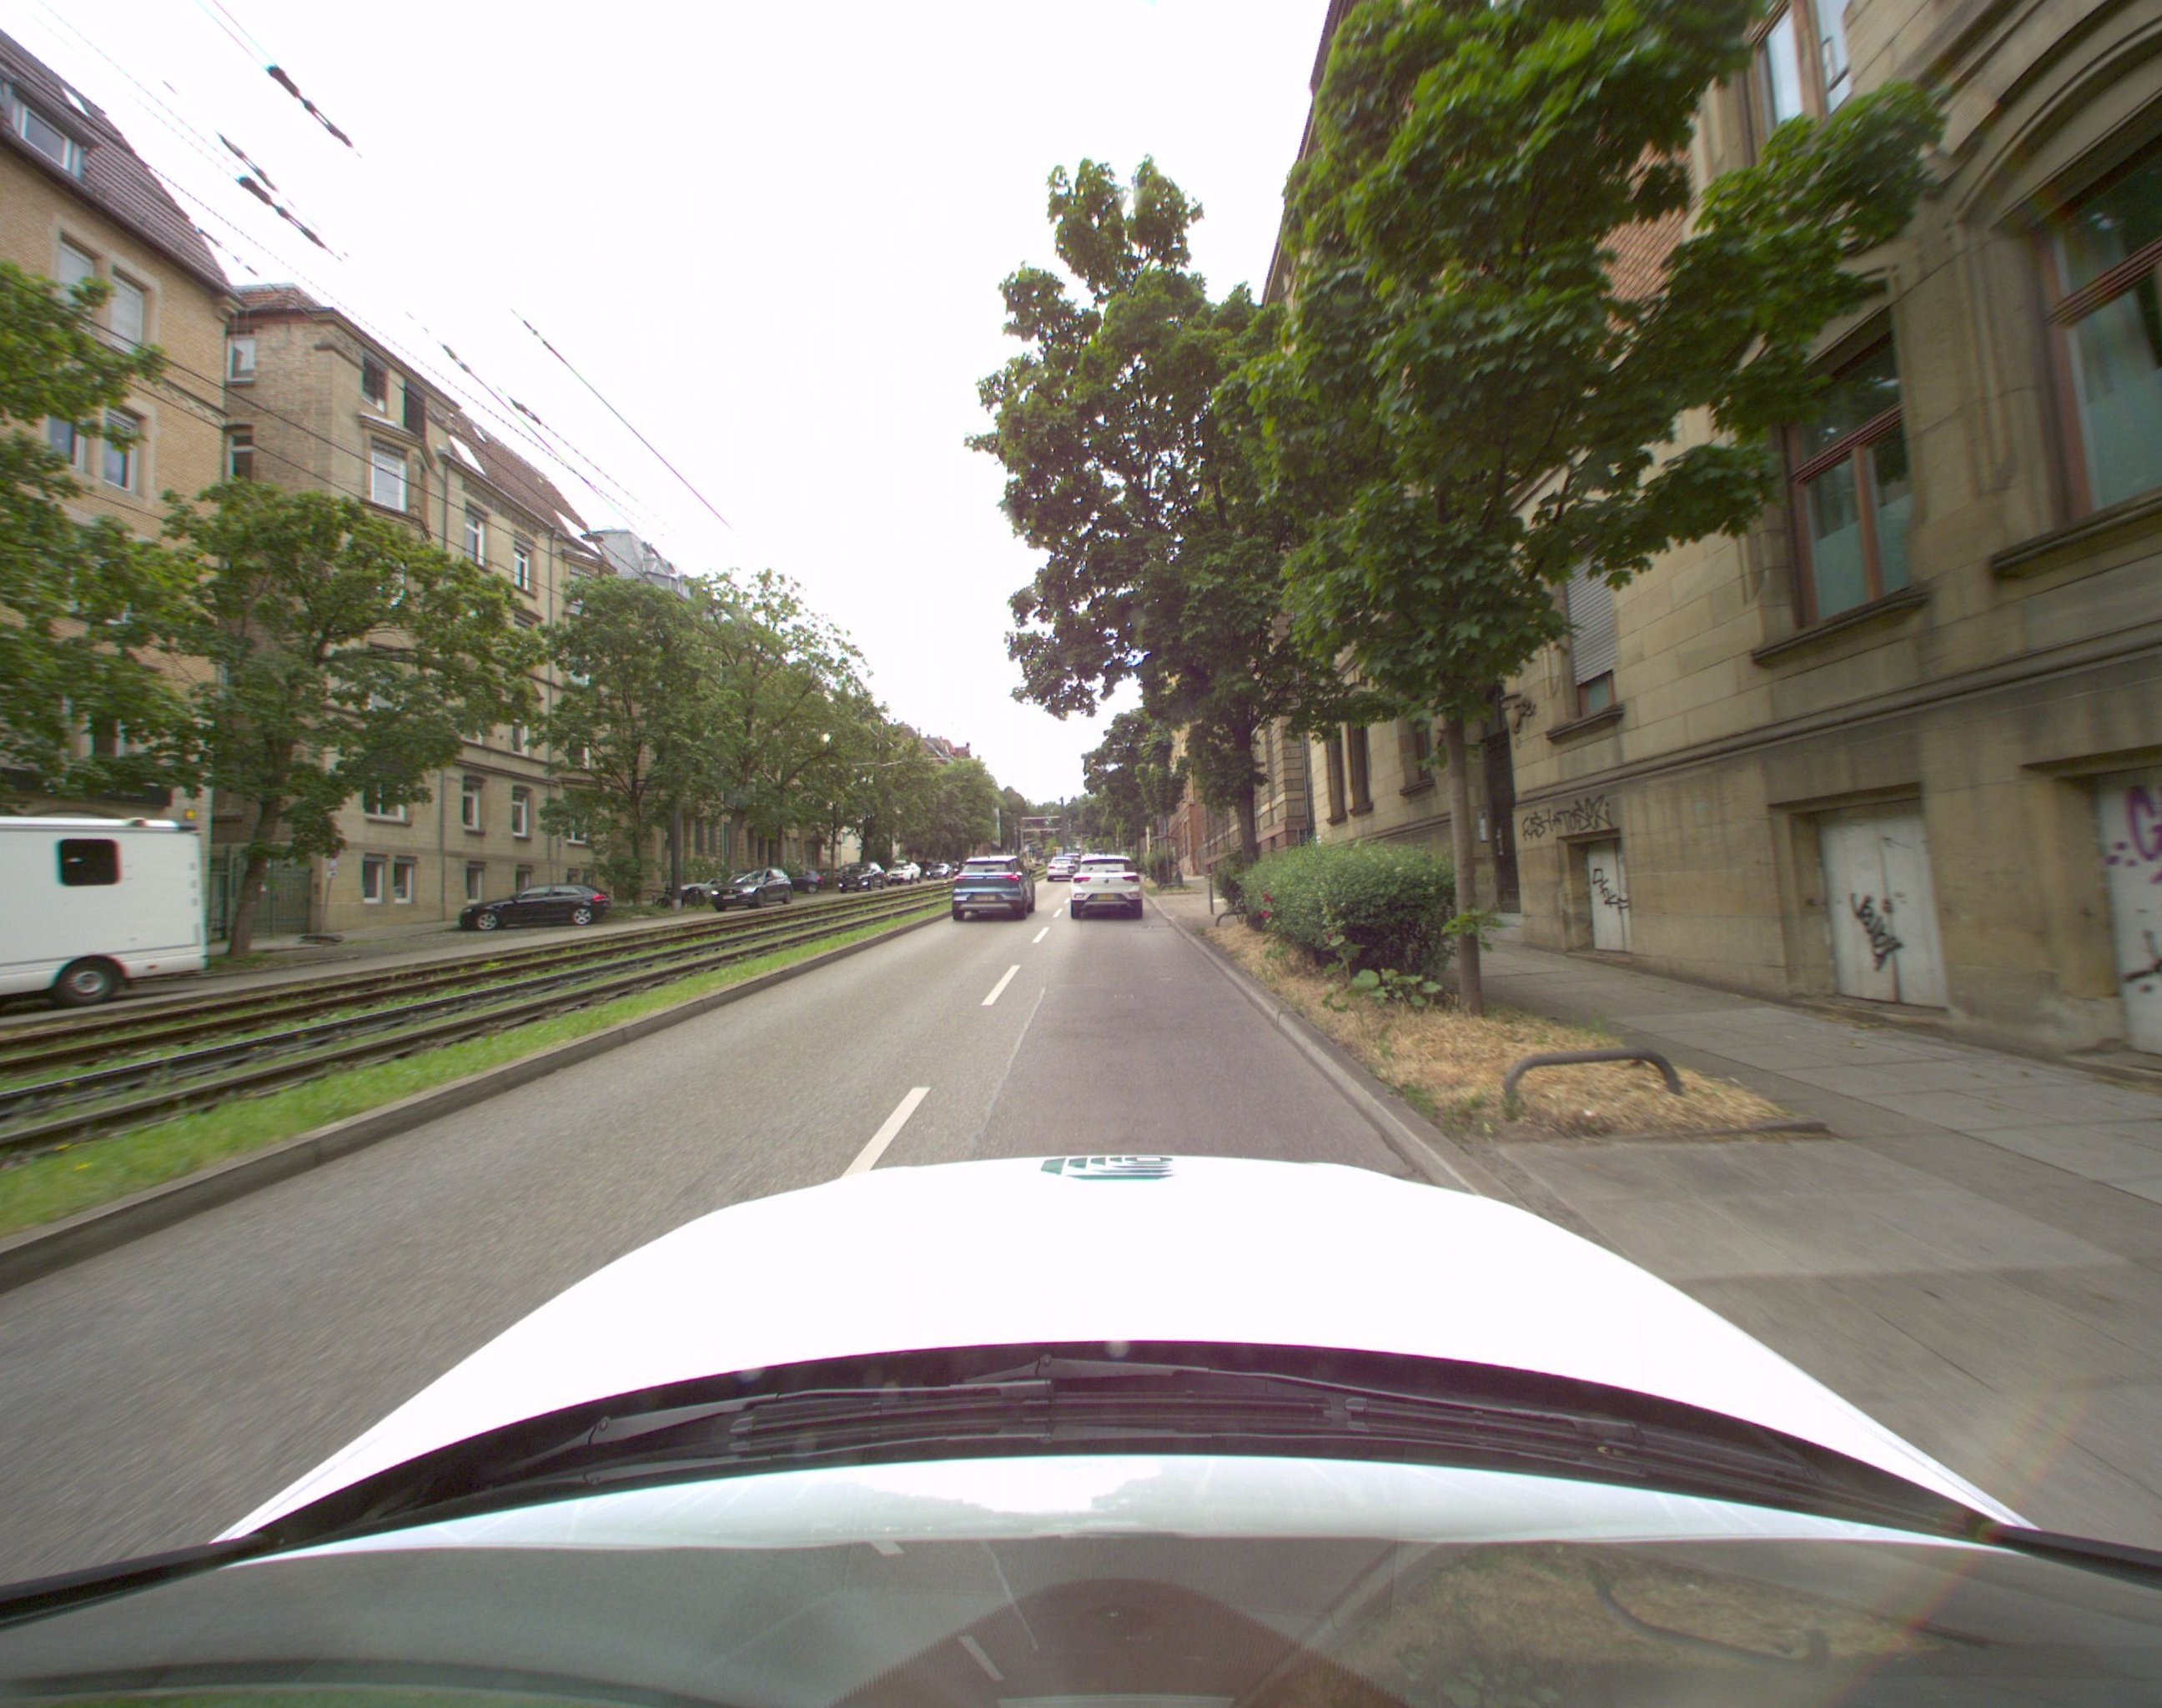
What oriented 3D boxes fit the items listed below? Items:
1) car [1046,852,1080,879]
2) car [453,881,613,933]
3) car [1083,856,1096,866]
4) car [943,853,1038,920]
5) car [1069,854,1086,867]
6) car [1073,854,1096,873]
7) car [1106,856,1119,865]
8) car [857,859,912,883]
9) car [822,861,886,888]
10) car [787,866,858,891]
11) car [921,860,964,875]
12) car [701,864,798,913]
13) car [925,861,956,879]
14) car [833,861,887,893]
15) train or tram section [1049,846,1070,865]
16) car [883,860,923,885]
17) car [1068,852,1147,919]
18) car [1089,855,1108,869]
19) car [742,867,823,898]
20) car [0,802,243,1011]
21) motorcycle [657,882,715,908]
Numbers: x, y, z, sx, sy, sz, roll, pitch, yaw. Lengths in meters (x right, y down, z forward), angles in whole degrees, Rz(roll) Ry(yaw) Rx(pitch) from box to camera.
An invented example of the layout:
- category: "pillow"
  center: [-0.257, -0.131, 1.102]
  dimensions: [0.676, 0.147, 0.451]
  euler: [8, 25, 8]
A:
- category: "car"
  center: [-1.060, 0.686, 50.202]
  dimensions: [1.829, 1.546, 4.195]
  euler: [-1, 0, 2]
- category: "car"
  center: [-17.930, 1.702, 26.887]
  dimensions: [4.195, 1.364, 1.696]
  euler: [-2, 0, -29]
- category: "car"
  center: [1.298, 1.042, 129.173]
  dimensions: [2.061, 1.546, 4.193]
  euler: [-1, 0, 0]
- category: "car"
  center: [-2.228, 0.774, 21.137]
  dimensions: [1.829, 1.546, 4.195]
  euler: [-1, 0, 2]
- category: "car"
  center: [-0.416, 0.789, 102.240]
  dimensions: [2.062, 1.546, 4.191]
  euler: [-1, 0, -1]
- category: "car"
  center: [0.351, 0.778, 69.749]
  dimensions: [1.829, 1.546, 4.195]
  euler: [-1, 0, 2]
- category: "car"
  center: [5.223, 1.081, 136.582]
  dimensions: [2.060, 1.546, 4.195]
  euler: [-1, 0, 2]
- category: "car"
  center: [-16.672, 1.432, 69.122]
  dimensions: [4.199, 1.836, 1.856]
  euler: [-3, 0, -26]
- category: "car"
  center: [-16.918, 1.535, 60.675]
  dimensions: [4.203, 1.767, 1.854]
  euler: [-3, 0, -29]
- category: "car"
  center: [-17.256, 1.611, 54.389]
  dimensions: [4.203, 1.435, 1.854]
  euler: [-3, 0, -29]
- category: "car"
  center: [-16.445, 1.600, 96.874]
  dimensions: [4.624, 1.617, 1.916]
  euler: [-1, -1, -33]
- category: "car"
  center: [-13.324, 1.337, 33.064]
  dimensions: [1.873, 1.650, 4.472]
  euler: [-4, 0, 1]
- category: "car"
  center: [-12.393, 1.362, 72.154]
  dimensions: [1.718, 1.410, 4.599]
  euler: [-4, 0, 2]
- category: "car"
  center: [-13.042, 1.327, 48.313]
  dimensions: [1.774, 1.657, 4.244]
  euler: [-4, 0, 2]
- category: "train or tram section"
  center: [-4.111, 0.316, 161.221]
  dimensions: [2.984, 3.349, 13.447]
  euler: [-2, -1, 3]
- category: "car"
  center: [-12.982, 1.348, 59.723]
  dimensions: [1.774, 1.616, 4.347]
  euler: [-4, 0, 2]
- category: "car"
  center: [0.650, 0.763, 21.277]
  dimensions: [1.829, 1.546, 4.193]
  euler: [-1, 0, 1]
- category: "car"
  center: [1.936, 0.890, 90.115]
  dimensions: [2.060, 1.546, 4.194]
  euler: [-1, 0, 1]
- category: "car"
  center: [-17.702, 1.688, 48.335]
  dimensions: [4.169, 1.469, 1.768]
  euler: [-4, 0, -31]
- category: "car"
  center: [-15.257, 0.765, 10.104]
  dimensions: [2.380, 2.699, 6.530]
  euler: [-4, 0, 7]
- category: "motorcycle"
  center: [-17.202, 1.767, 35.518]
  dimensions: [2.214, 1.058, 0.619]
  euler: [-1, -1, -33]
